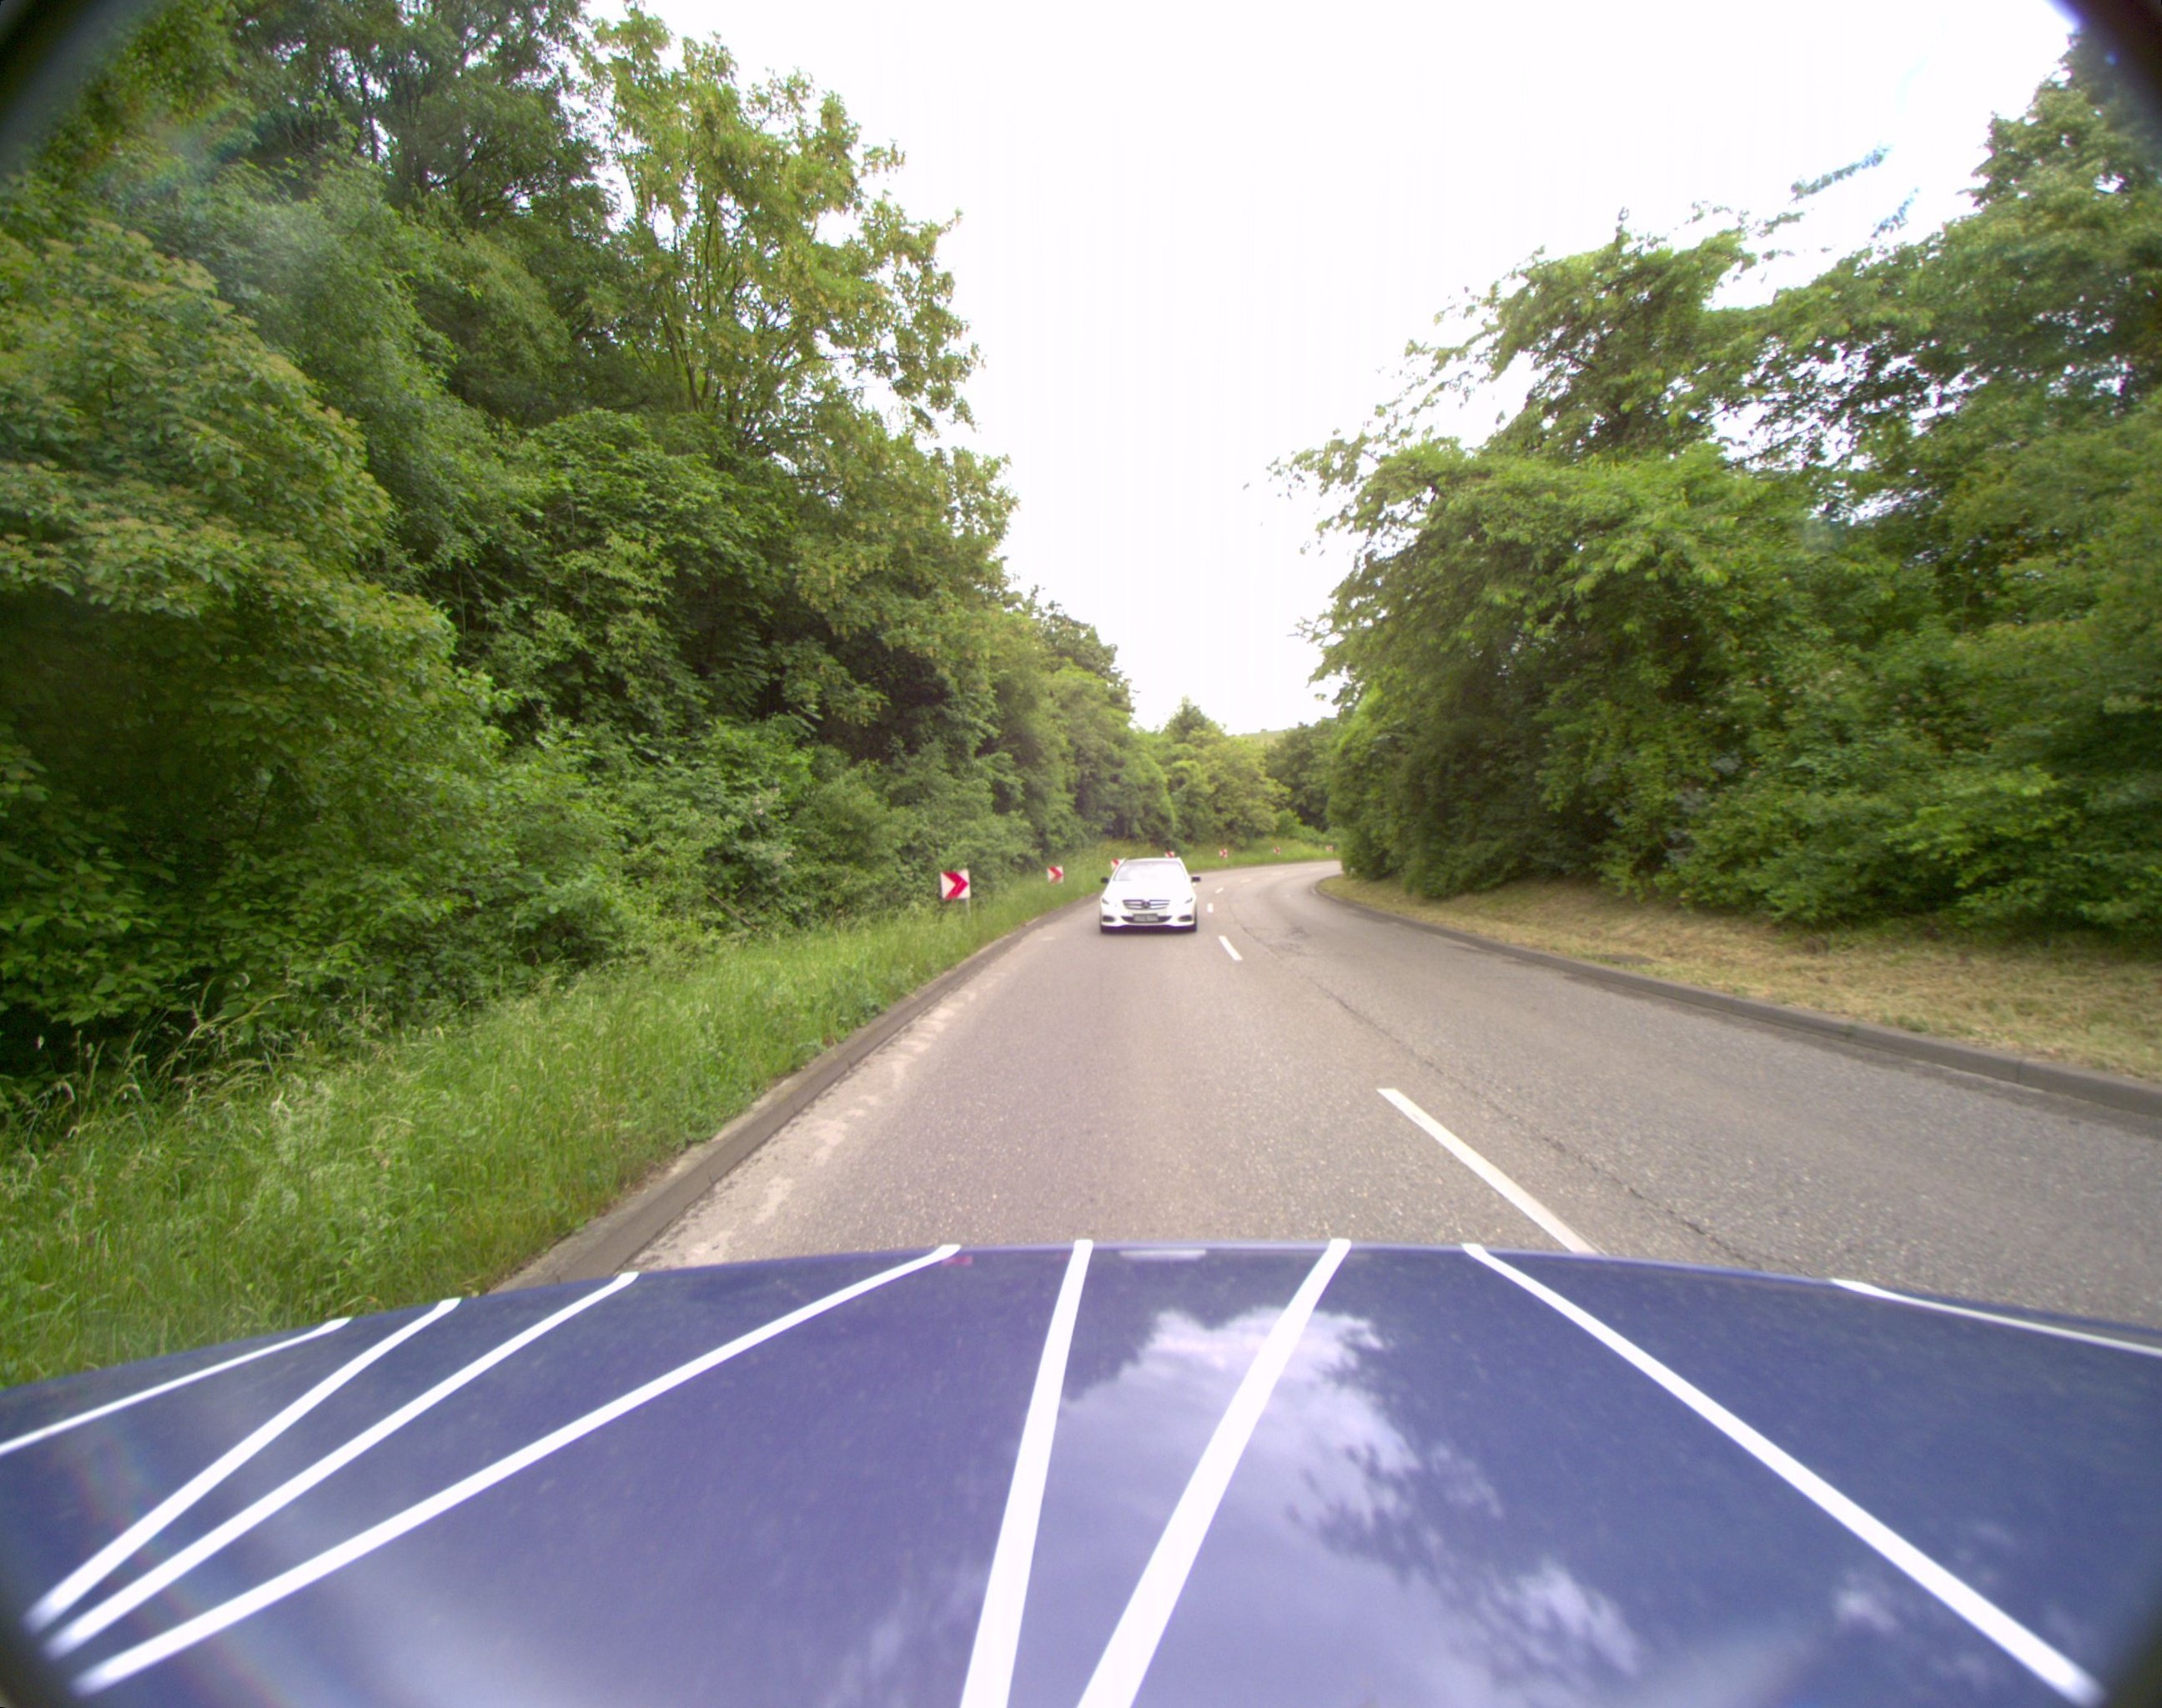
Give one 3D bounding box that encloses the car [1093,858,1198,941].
[{"bbox_3d":[1.470,0.846,15.957,1.865,1.423,4.358,-1,0,8],"label":"car"}]
